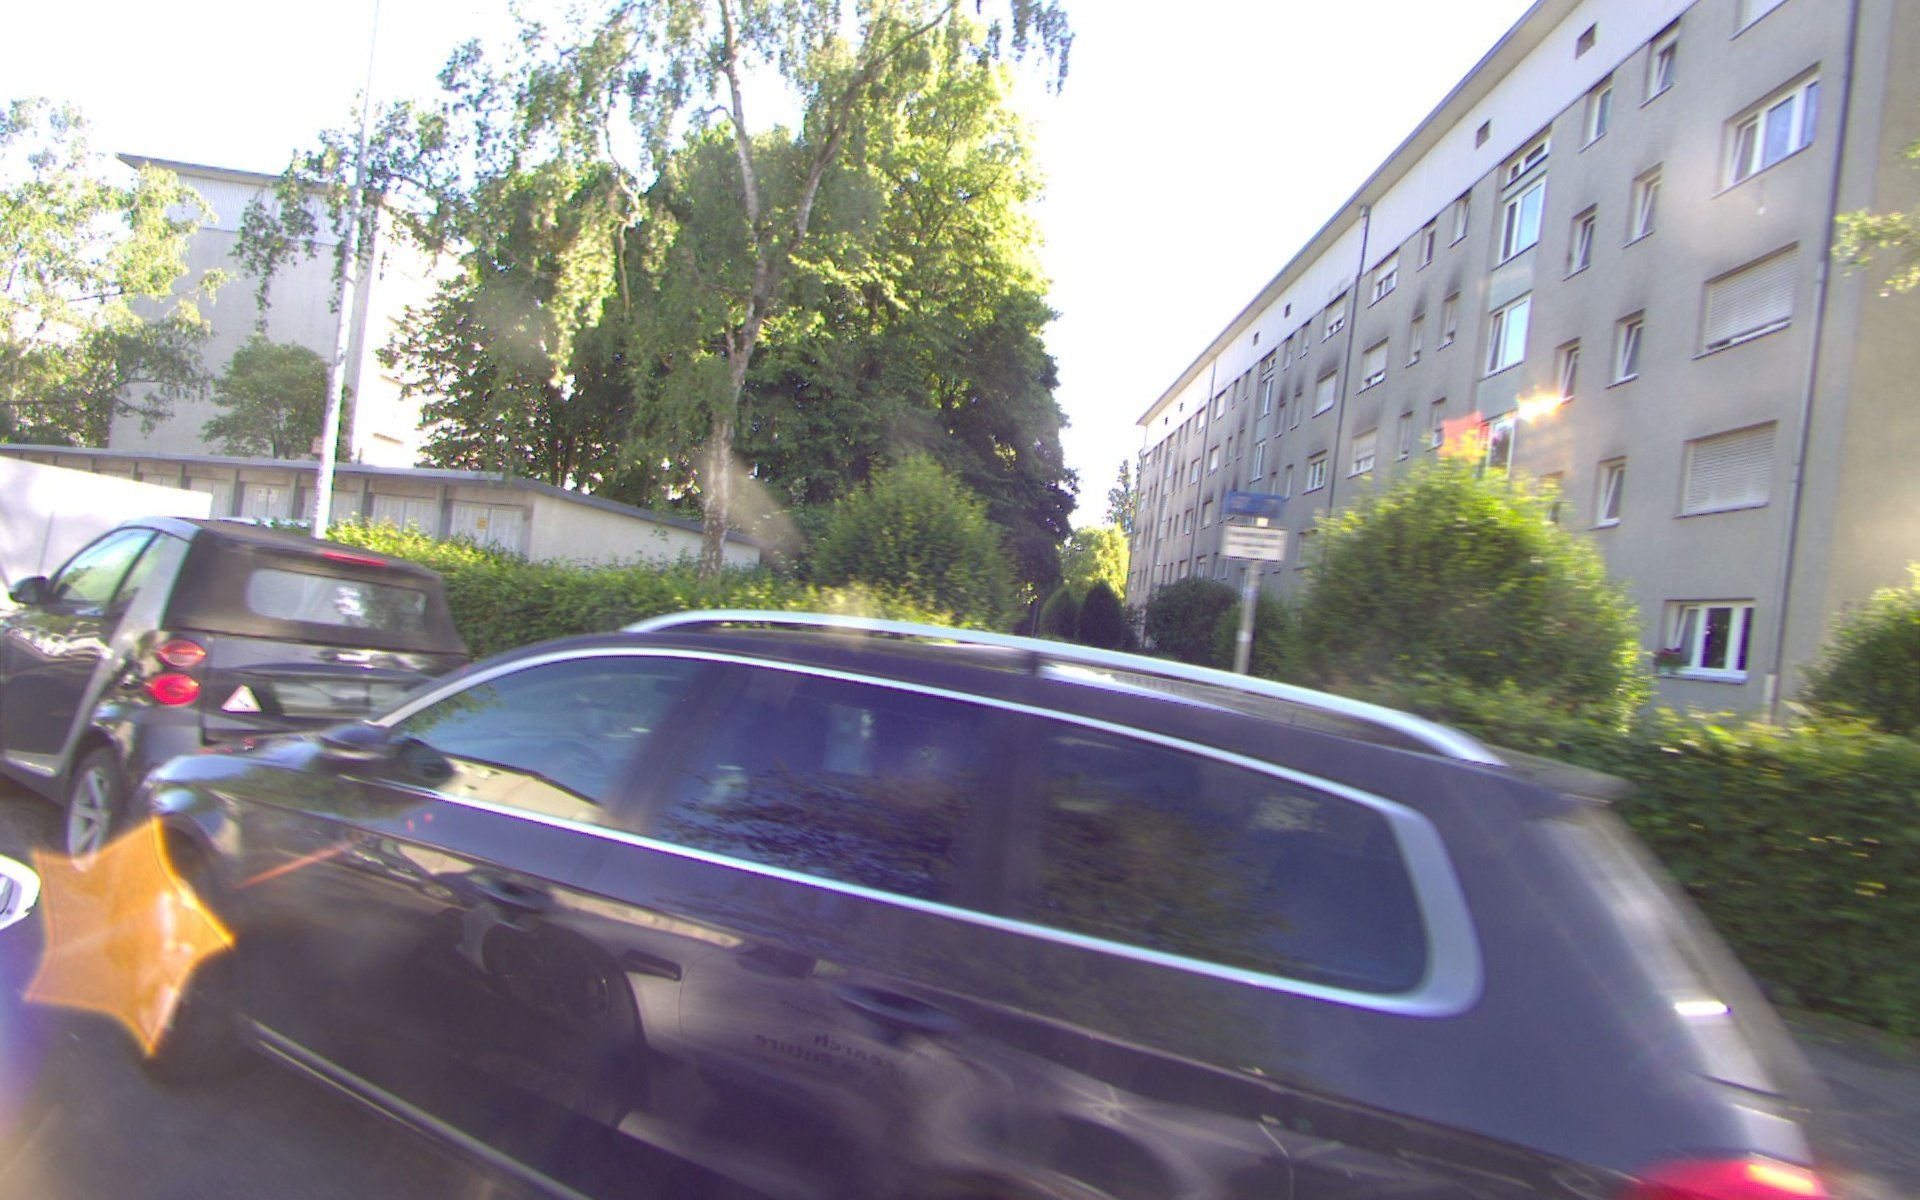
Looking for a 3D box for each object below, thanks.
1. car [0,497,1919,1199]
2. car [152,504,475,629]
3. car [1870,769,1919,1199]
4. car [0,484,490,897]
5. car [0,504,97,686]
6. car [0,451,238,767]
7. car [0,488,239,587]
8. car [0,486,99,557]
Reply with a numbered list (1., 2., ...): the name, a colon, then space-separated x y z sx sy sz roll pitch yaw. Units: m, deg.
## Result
1. car: -0.623 0.752 2.847 4.423 1.506 1.737 7 -3 29
2. car: -10.305 -0.464 16.360 1.797 1.532 3.950 7 0 28
3. car: 3.440 1.207 0.614 3.968 1.507 1.627 7 -2 30
4. car: -3.870 0.335 5.166 2.517 1.541 1.417 7 -2 35
5. car: -9.389 -0.274 8.570 3.828 1.419 1.737 7 -2 29
6. car: -6.222 -0.031 6.477 2.539 1.738 1.492 7 -2 31
7. car: -17.695 -1.286 20.441 1.799 1.532 4.518 7 0 32
8. car: -24.419 -2.129 24.833 1.798 1.532 4.420 7 0 31
